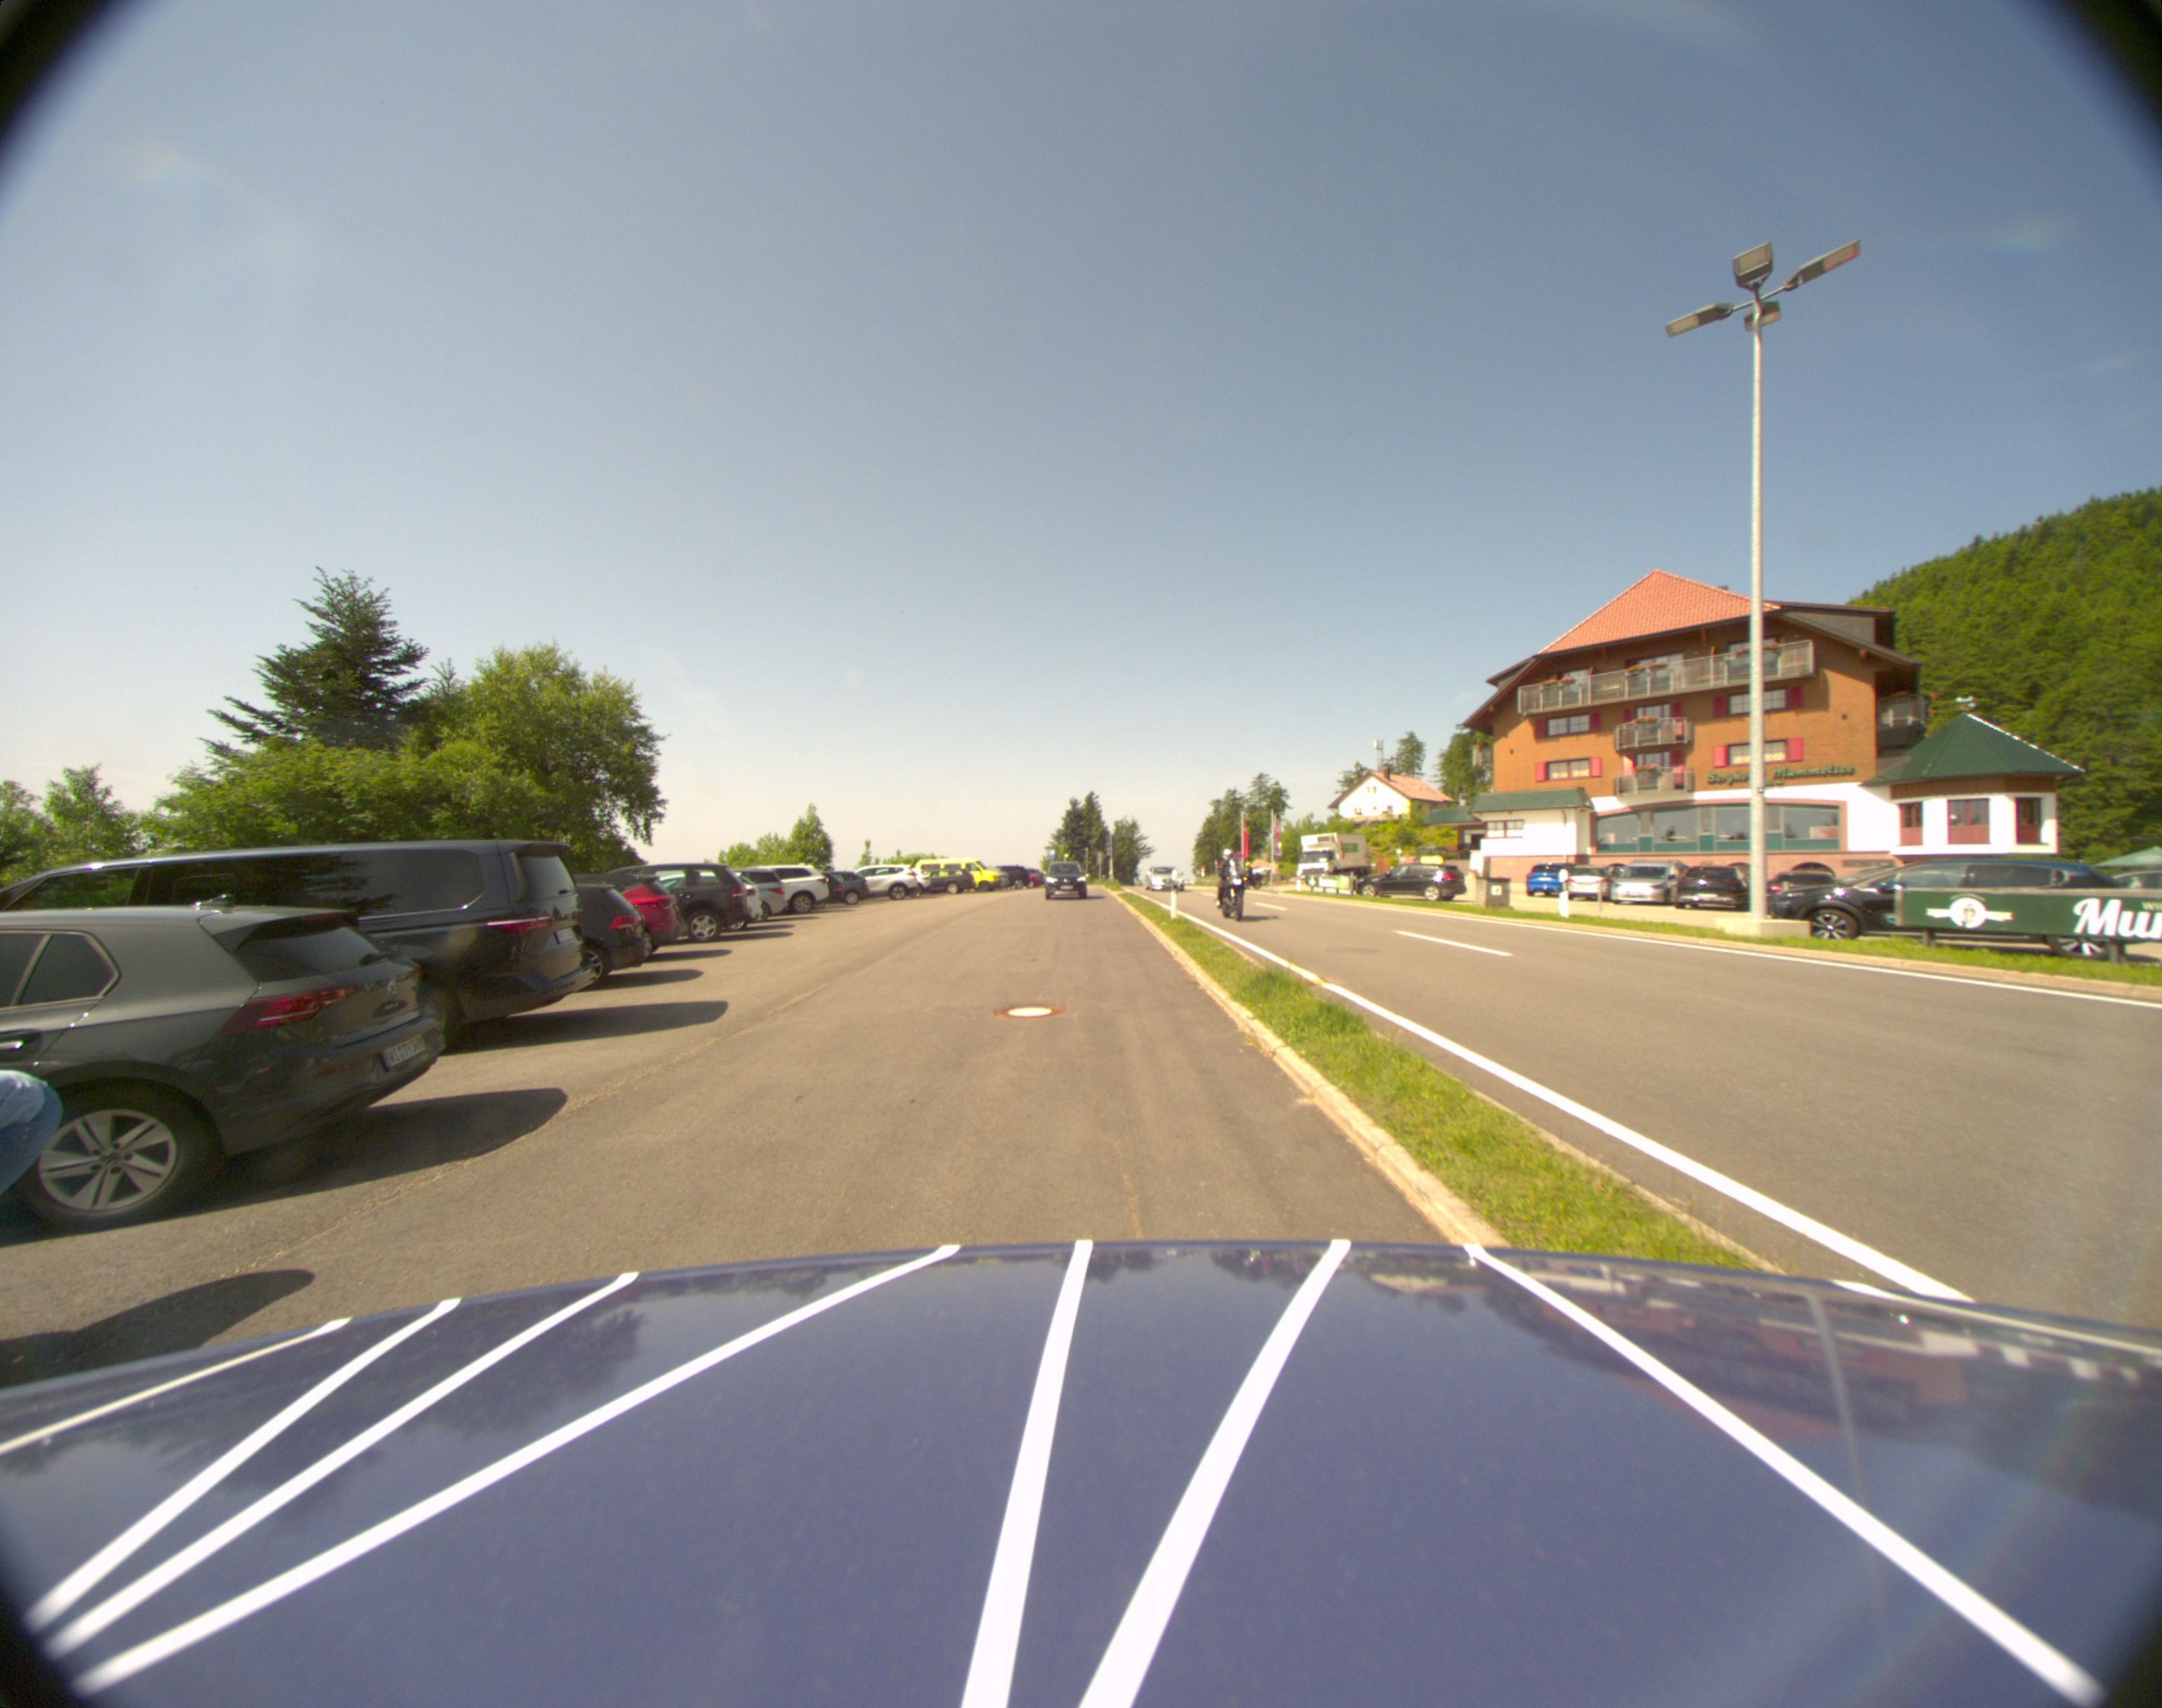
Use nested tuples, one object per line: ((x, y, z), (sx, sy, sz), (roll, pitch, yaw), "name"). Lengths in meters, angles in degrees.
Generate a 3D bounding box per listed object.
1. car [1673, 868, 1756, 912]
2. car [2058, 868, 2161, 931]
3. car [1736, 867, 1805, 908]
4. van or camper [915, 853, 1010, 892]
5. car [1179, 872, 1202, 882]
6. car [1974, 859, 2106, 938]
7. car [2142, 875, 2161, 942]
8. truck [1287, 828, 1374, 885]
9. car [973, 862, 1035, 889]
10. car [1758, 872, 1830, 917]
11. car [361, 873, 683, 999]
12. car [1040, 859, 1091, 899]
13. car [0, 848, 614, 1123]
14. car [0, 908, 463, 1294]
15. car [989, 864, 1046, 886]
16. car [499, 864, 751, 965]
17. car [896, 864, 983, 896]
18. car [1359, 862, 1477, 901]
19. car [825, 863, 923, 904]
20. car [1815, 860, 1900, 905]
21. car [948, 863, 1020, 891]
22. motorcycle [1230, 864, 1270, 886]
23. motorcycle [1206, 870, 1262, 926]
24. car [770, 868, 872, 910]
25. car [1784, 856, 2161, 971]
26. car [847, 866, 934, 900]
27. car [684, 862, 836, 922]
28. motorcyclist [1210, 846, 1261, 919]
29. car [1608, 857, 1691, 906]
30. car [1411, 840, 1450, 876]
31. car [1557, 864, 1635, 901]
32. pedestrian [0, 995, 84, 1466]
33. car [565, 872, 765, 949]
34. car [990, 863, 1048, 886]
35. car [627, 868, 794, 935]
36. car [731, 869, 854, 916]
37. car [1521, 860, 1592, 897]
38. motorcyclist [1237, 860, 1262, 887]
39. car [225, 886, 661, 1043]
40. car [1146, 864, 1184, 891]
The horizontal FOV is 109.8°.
((22.597, 1.245, 27.040), (4.009, 1.421, 1.909), (2, -2, -45), "car")
((27.962, 1.175, 20.108), (1.994, 1.542, 4.009), (0, -1, 43), "car")
((27.524, 1.308, 30.308), (1.929, 1.474, 4.009), (0, -1, 43), "car")
((-6.914, 1.094, 44.606), (5.101, 2.001, 1.883), (-3, -1, 5), "van or camper")
((23.984, 5.005, 166.332), (4.727, 1.870, 1.933), (3, -2, 4), "car")
((22.851, 1.009, 18.182), (4.009, 1.693, 1.821), (2, -2, -39), "car")
((22.123, 1.078, 14.356), (4.009, 1.362, 1.807), (2, -2, -44), "car")
((19.299, 0.128, 58.319), (3.062, 3.948, 8.789), (-4, -1, 40), "truck")
((-5.102, 1.409, 50.456), (3.998, 1.604, 1.916), (-2, -1, -4), "car")
((22.797, 1.259, 24.293), (1.583, 1.313, 3.648), (-1, -2, 44), "car")
((-8.950, 1.229, 12.670), (4.005, 1.580, 1.860), (-3, 0, -27), "car")
((-0.606, 1.042, 32.911), (1.985, 1.607, 4.151), (0, -1, 2), "car")
((-7.283, 1.019, 6.887), (4.776, 1.869, 1.963), (-3, 0, -18), "car")
((-5.736, 1.156, 3.557), (4.004, 1.434, 1.836), (-3, 0, -24), "car")
((-4.695, 1.562, 55.721), (4.000, 1.500, 1.841), (-1, -2, -9), "car")
((-9.422, 1.178, 16.150), (4.278, 1.684, 1.987), (-3, 0, -26), "car")
((-7.733, 1.408, 41.777), (4.361, 1.478, 1.813), (-3, -1, 2), "car")
((14.191, 1.143, 32.138), (1.812, 1.531, 4.180), (2, -2, -44), "car")
((-9.584, 1.333, 35.202), (4.188, 1.640, 1.889), (-3, 0, -19), "car")
((27.390, 0.985, 26.916), (1.929, 1.474, 4.009), (0, -1, 43), "car")
((-6.066, 1.427, 47.672), (4.160, 1.579, 1.706), (-2, -1, 4), "car")
((11.240, 1.392, 50.448), (2.447, 1.398, 1.004), (-1, 0, -19), "motorcycle")
((3.747, 1.046, 18.845), (0.878, 1.249, 2.277), (-1, 0, -1), "motorcycle")
((-10.750, 1.427, 31.429), (3.810, 1.450, 1.660), (-3, 0, -22), "car")
((14.194, 0.844, 12.233), (1.787, 1.542, 3.989), (1, -1, -38), "car")
((-9.463, 1.418, 38.057), (4.100, 1.491, 1.942), (-2, 0, -11), "car")
((-10.507, 1.194, 24.996), (4.234, 1.684, 1.859), (-2, -1, -37), "car")
((3.770, 0.663, 18.664), (0.925, 1.707, 1.452), (-1, 0, -1), "motorcyclist")
((23.000, 1.090, 30.690), (4.540, 1.852, 1.830), (2, -2, -42), "car")
((24.784, 0.342, 54.033), (1.996, 2.480, 4.006), (0, -1, 17), "car")
((22.714, 1.235, 33.466), (4.009, 1.536, 1.994), (2, -2, -43), "car")
((-3.684, 1.154, 2.179), (0.775, 1.394, 0.669), (1, -1, 7), "pedestrian")
((-9.932, 1.290, 18.456), (4.004, 1.467, 1.764), (-3, 1, -25), "car")
((-4.878, 1.610, 59.628), (4.410, 1.559, 1.907), (-2, -1, -5), "car")
((-10.405, 1.270, 21.403), (4.006, 1.540, 1.816), (-3, 0, -32), "car")
((-10.870, 1.396, 28.659), (4.057, 1.452, 1.891), (-3, 0, -28), "car")
((23.030, 1.138, 36.738), (4.555, 1.654, 1.934), (1, -1, -45), "car")
((11.201, 1.276, 50.429), (1.249, 1.710, 1.063), (-1, 0, -19), "motorcyclist")
((-7.788, 1.256, 9.860), (4.006, 1.406, 1.741), (-3, 0, -30), "car")
((4.740, 1.338, 43.262), (1.781, 1.448, 4.001), (1, -1, 0), "car")
